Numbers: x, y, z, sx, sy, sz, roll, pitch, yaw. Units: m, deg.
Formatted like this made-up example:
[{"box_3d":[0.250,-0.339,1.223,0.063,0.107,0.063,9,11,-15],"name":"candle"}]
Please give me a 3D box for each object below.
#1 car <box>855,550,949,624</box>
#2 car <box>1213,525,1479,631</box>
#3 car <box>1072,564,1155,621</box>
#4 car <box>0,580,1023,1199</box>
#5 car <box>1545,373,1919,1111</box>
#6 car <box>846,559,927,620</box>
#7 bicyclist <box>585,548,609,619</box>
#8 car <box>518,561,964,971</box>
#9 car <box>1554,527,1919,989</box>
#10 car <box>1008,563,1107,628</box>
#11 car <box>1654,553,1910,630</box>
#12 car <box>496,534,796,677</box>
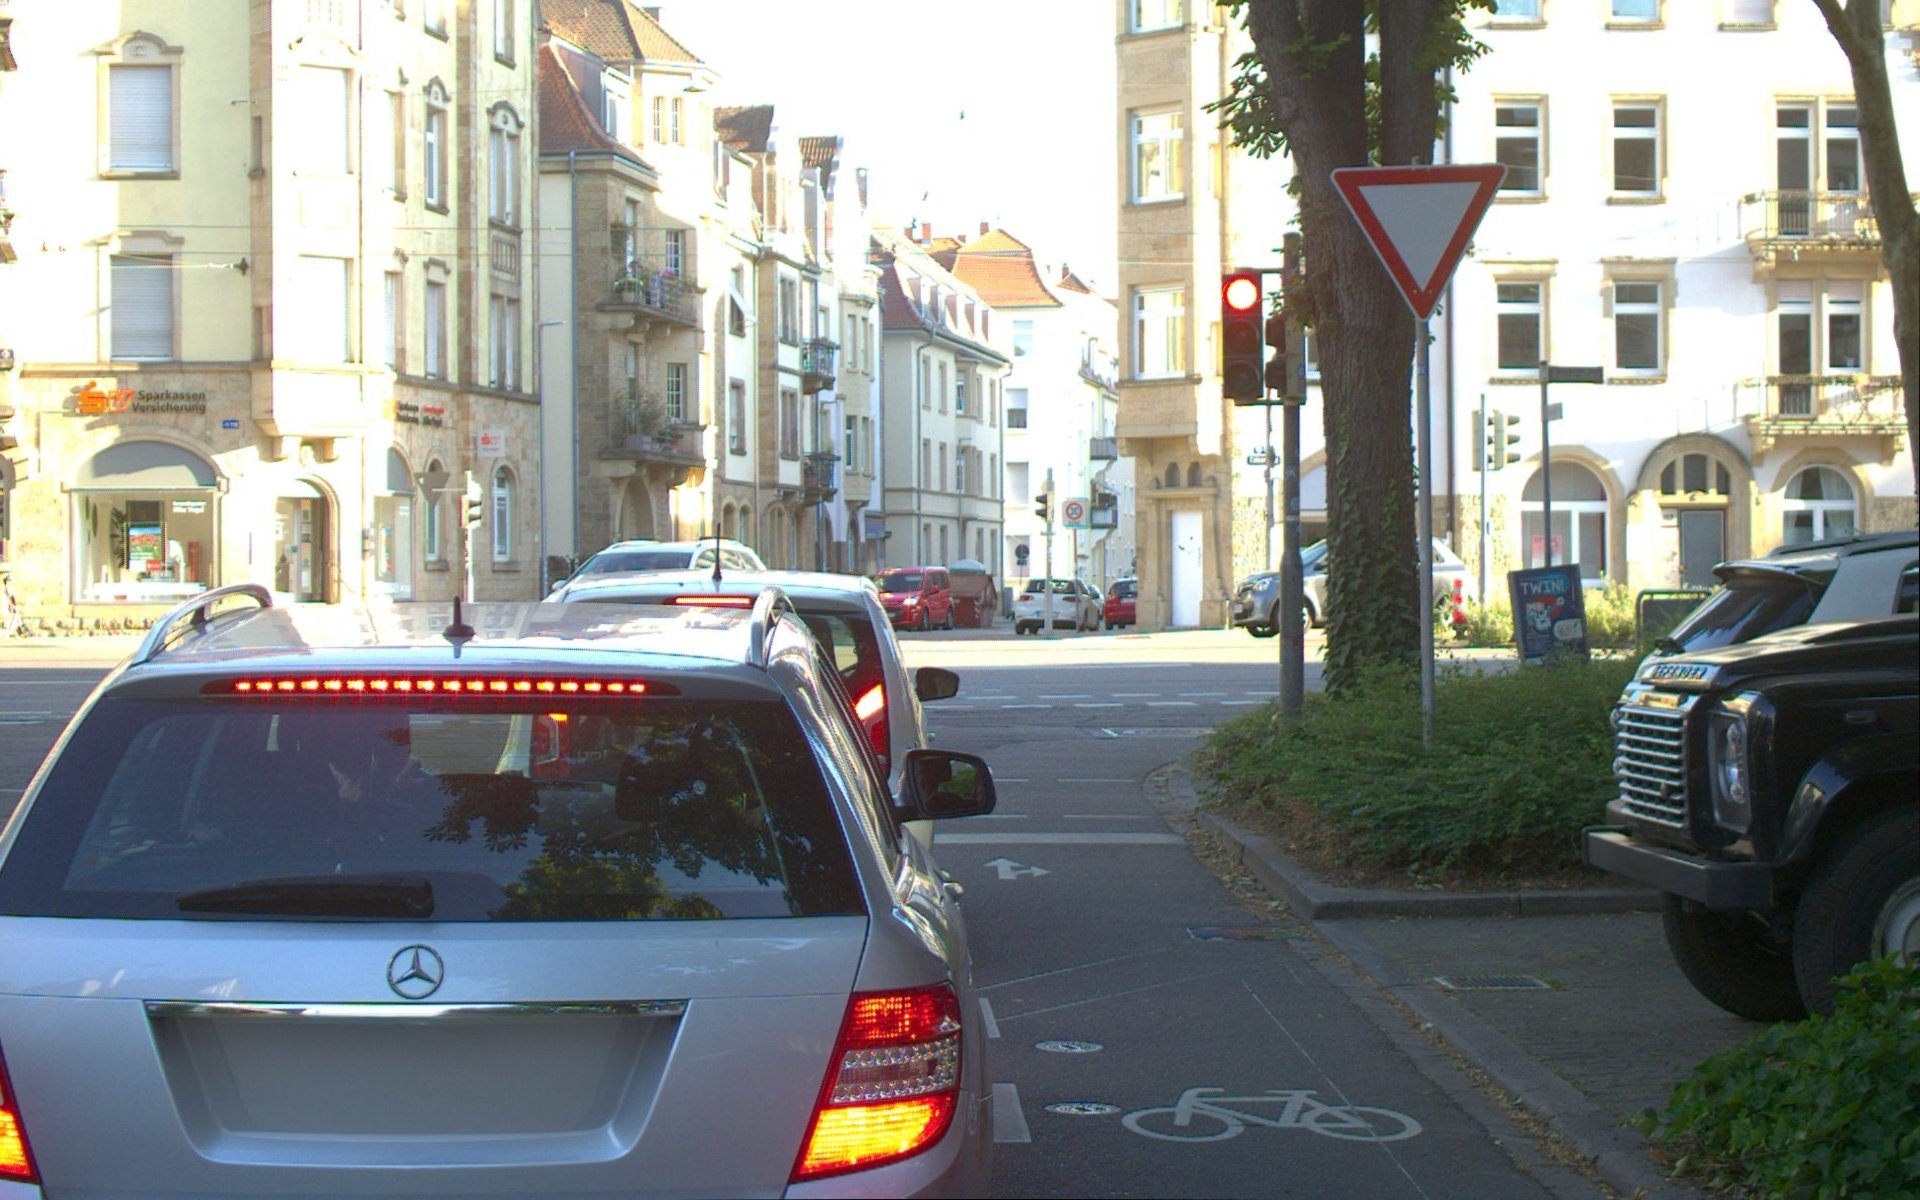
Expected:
[{"box_3d":[-1.543,-0.378,93.366,1.938,1.952,4.149,0,1,8],"name":"car"},{"box_3d":[5.714,-0.346,51.024,3.579,1.496,1.621,-1,2,-13],"name":"car"},{"box_3d":[4.569,-0.230,102.077,1.722,1.473,3.998,-4,1,12],"name":"car"},{"box_3d":[-0.863,0.706,6.499,1.690,1.424,3.493,1,1,-3],"name":"car"},{"box_3d":[4.189,0.291,10.184,4.490,1.949,1.793,-2,1,-3],"name":"car"},{"box_3d":[-2.168,-0.304,102.435,1.651,1.777,3.861,0,0,11],"name":"car"},{"box_3d":[-7.760,-0.353,73.493,0.466,1.509,0.655,0,1,-4],"name":"bicyclist"},{"box_3d":[-0.825,0.557,13.696,1.533,1.386,3.600,0,1,-2],"name":"car"},{"box_3d":[4.196,0.504,12.974,3.480,1.580,1.711,-2,1,-6],"name":"car"},{"box_3d":[2.463,-0.122,85.913,1.722,1.473,3.998,-2,1,12],"name":"car"},{"box_3d":[11.893,-0.131,49.833,3.364,1.065,1.380,0,1,-1],"name":"car"},{"box_3d":[-3.450,0.011,38.611,1.782,1.457,4.296,0,2,18],"name":"car"}]
